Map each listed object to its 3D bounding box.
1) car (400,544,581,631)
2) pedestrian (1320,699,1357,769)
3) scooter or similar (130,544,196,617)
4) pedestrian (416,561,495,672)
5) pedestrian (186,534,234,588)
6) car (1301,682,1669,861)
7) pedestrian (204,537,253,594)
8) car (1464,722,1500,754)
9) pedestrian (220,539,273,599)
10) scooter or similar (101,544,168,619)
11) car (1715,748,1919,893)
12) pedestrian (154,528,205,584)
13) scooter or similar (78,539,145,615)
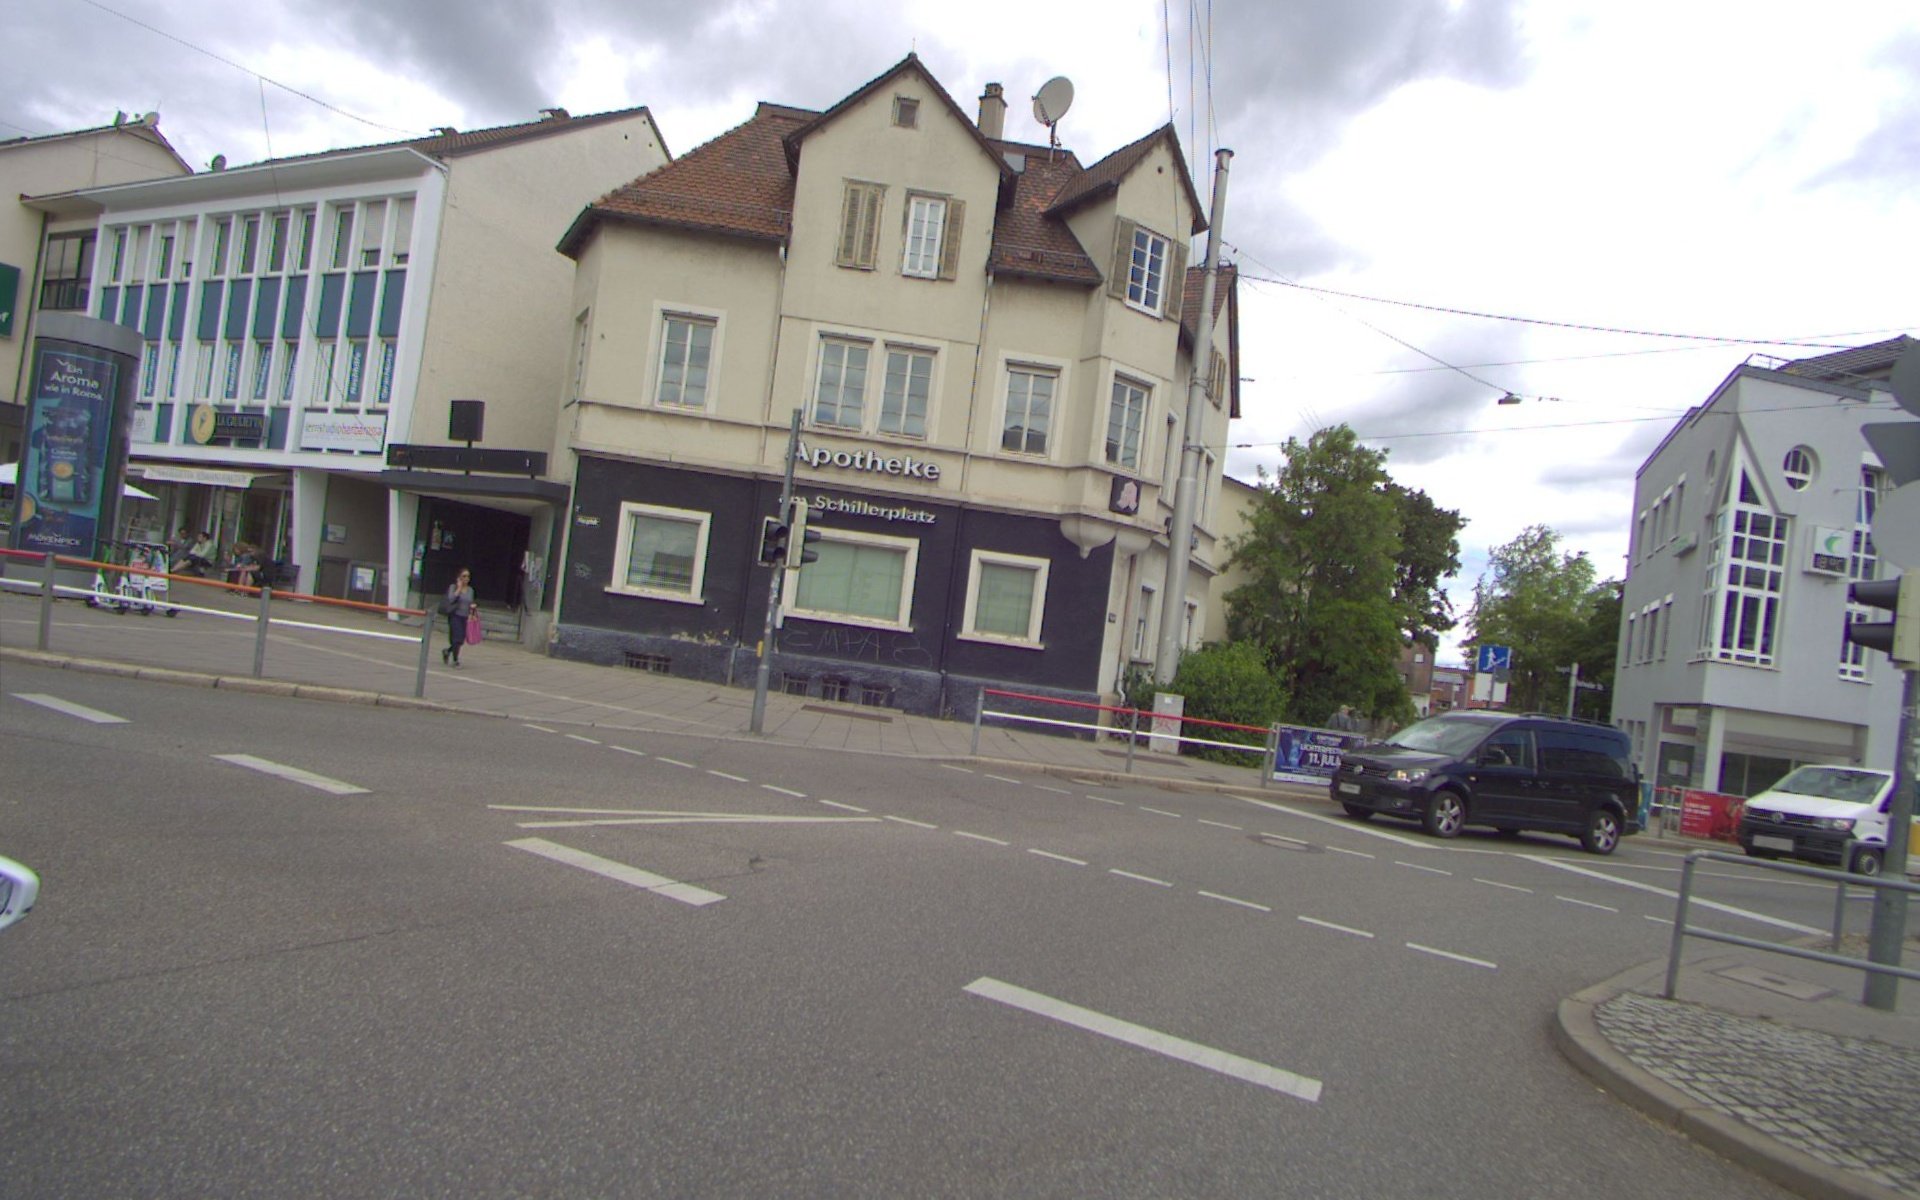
[{"bbox_3d":[-12.313,-0.281,26.638,1.705,1.685,3.978,7,-2,28],"label":"car"},{"bbox_3d":[9.618,3.396,25.562,0.677,1.654,0.592,7,0,24],"label":"pedestrian"},{"bbox_3d":[-13.978,-0.343,17.635,1.187,1.146,0.315,7,0,26],"label":"scooter or similar"},{"bbox_3d":[-8.073,0.281,16.126,0.732,1.639,0.588,9,-3,-7],"label":"pedestrian"},{"bbox_3d":[-18.746,-0.969,25.148,0.577,1.234,0.615,7,-1,23],"label":"pedestrian"},{"bbox_3d":[7.623,2.487,14.598,4.862,1.916,1.872,9,-2,-21],"label":"car"},{"bbox_3d":[-17.138,-0.810,23.581,0.577,1.235,0.615,7,1,23],"label":"pedestrian"},{"bbox_3d":[36.578,9.647,70.511,1.847,1.824,4.232,7,-3,25],"label":"car"},{"bbox_3d":[-16.563,-0.718,23.366,0.577,1.232,0.616,7,-4,23],"label":"pedestrian"},{"bbox_3d":[-14.191,-0.328,17.285,1.187,1.146,0.315,7,0,26],"label":"scooter or similar"},{"bbox_3d":[16.016,3.913,17.494,4.851,1.916,1.876,8,-2,-14],"label":"car"},{"bbox_3d":[-19.500,-1.098,25.141,0.577,1.232,0.616,7,-4,23],"label":"pedestrian"},{"bbox_3d":[-14.303,-0.393,16.957,1.187,1.146,0.315,7,0,26],"label":"scooter or similar"}]
